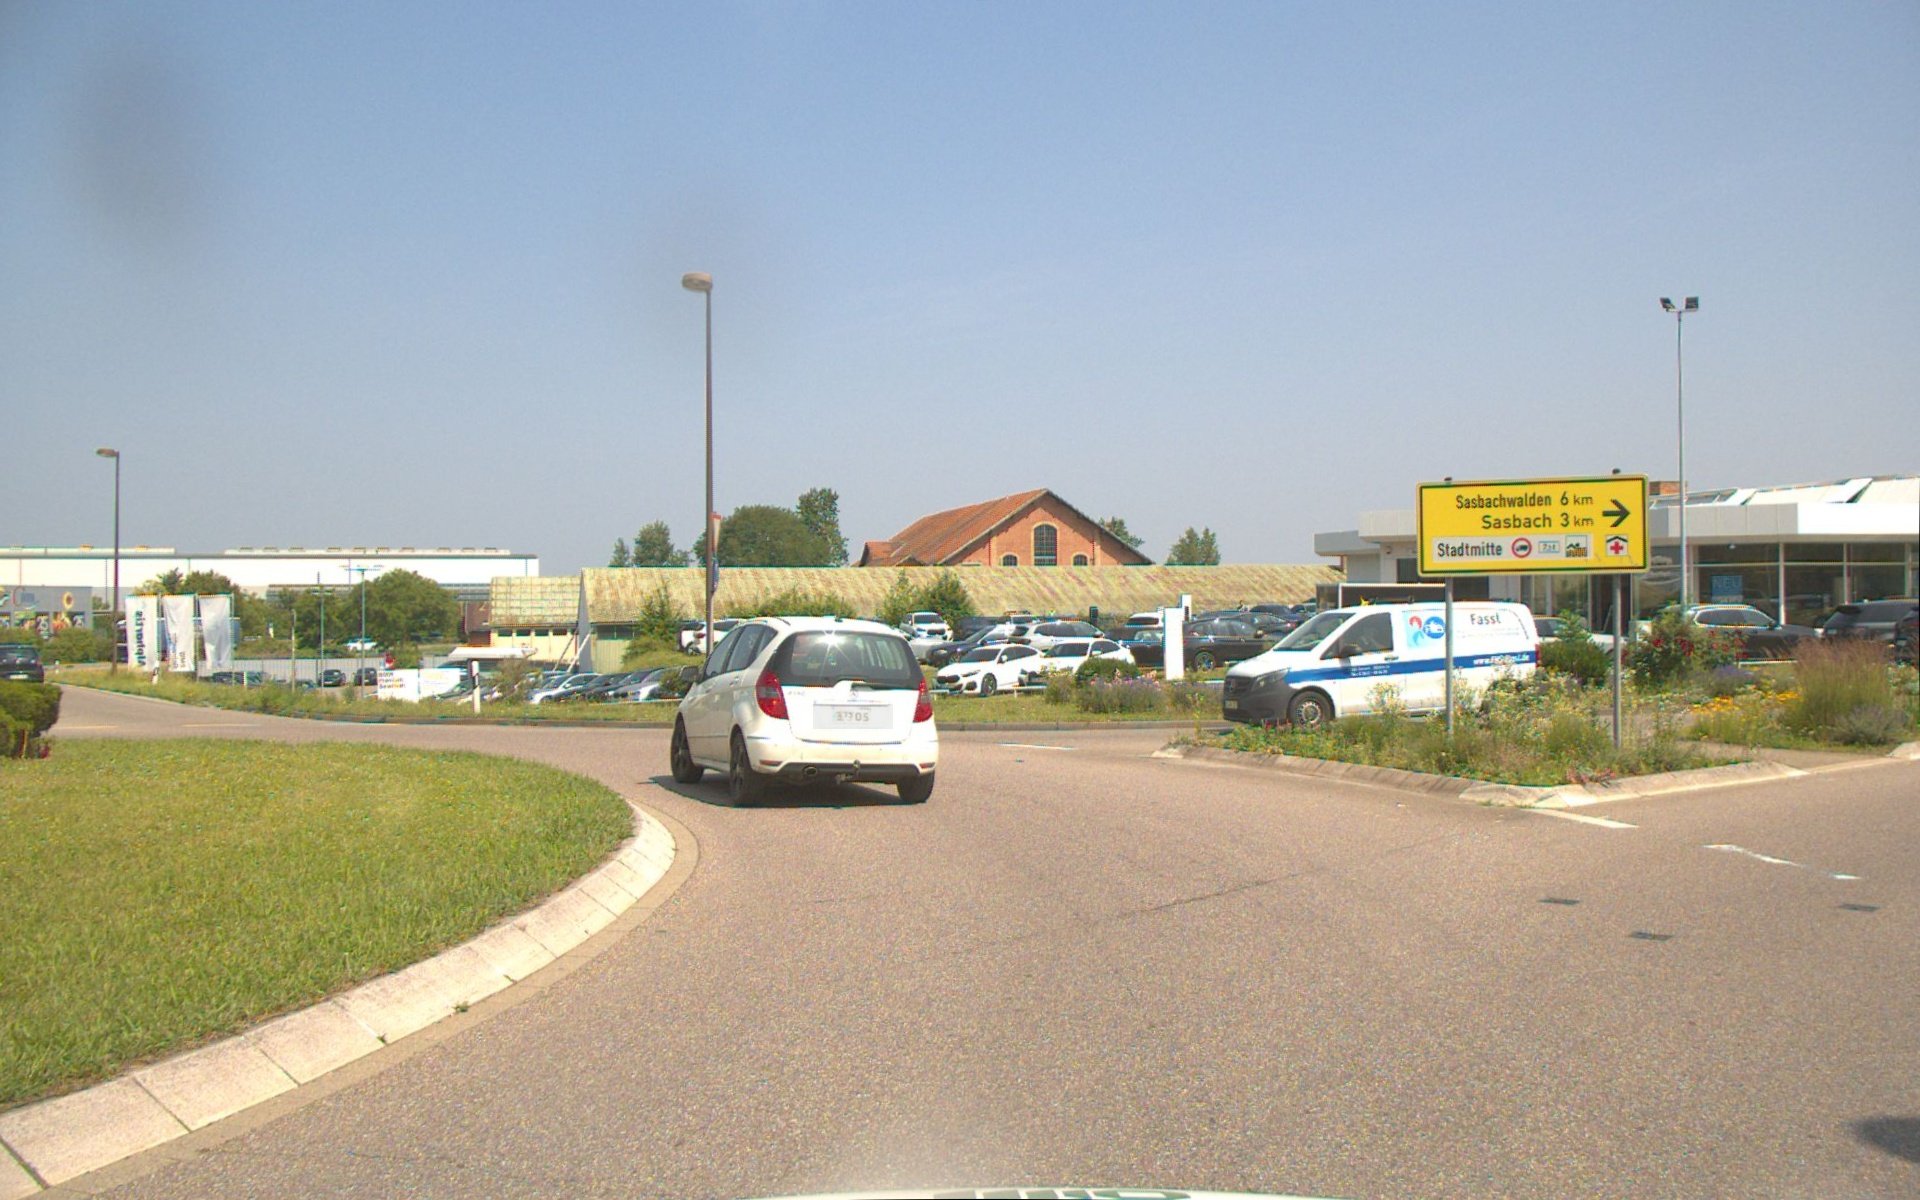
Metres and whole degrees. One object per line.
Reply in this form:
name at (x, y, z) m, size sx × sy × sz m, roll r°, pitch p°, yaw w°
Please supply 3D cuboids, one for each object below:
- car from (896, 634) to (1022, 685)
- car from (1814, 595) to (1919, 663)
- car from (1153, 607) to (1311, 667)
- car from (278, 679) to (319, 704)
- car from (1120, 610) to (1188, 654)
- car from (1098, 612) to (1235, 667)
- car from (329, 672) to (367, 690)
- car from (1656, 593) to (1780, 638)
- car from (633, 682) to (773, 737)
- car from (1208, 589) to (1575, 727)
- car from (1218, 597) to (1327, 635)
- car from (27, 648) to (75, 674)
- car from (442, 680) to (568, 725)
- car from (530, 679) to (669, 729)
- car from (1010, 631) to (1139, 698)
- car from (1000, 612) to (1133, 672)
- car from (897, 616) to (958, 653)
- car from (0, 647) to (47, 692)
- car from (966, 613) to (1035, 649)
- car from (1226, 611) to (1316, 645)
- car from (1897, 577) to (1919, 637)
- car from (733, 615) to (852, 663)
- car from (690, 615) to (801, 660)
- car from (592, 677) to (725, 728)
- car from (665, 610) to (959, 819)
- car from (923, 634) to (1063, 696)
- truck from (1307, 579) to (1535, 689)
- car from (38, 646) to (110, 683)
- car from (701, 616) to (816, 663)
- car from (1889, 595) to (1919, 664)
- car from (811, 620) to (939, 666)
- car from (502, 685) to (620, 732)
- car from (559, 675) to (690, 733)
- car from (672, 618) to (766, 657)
car at (-0.054, 1.986, 56.011) m, size 3.926 × 1.553 × 1.944 m, roll -1°, pitch -1°, yaw -12°
car at (23.070, 0.663, 39.647) m, size 4.268 × 1.539 × 1.911 m, roll -1°, pitch -1°, yaw 15°
car at (8.376, 1.148, 50.967) m, size 4.345 × 1.526 × 1.939 m, roll -4°, pitch -1°, yaw -18°
car at (-42.017, 5.815, 105.119) m, size 2.102 × 1.483 × 4.509 m, roll 1°, pitch -2°, yaw -18°
car at (7.557, 1.226, 64.181) m, size 1.618 × 1.614 × 4.269 m, roll -1°, pitch 0°, yaw 20°
car at (6.701, 1.265, 53.698) m, size 3.934 × 1.526 × 1.940 m, roll -3°, pitch 1°, yaw -18°
car at (-49.733, 6.580, 134.461) m, size 1.955 × 1.423 × 3.994 m, roll 0°, pitch -2°, yaw -6°
car at (29.080, 0.595, 63.494) m, size 3.958 × 1.614 × 1.903 m, roll -1°, pitch -1°, yaw -13°
car at (-8.727, 3.726, 56.370) m, size 1.891 × 1.491 × 4.404 m, roll -6°, pitch -3°, yaw 45°
car at (6.518, 0.882, 25.146) m, size 5.122 × 1.972 × 1.855 m, roll 0°, pitch -2°, yaw -13°
car at (14.006, 0.715, 74.150) m, size 4.377 × 1.549 × 1.943 m, roll -1°, pitch -1°, yaw -14°
car at (-71.874, 4.843, 130.841) m, size 1.956 × 2.049 × 3.992 m, roll 0°, pitch -2°, yaw -8°
car at (-18.460, 4.152, 67.181) m, size 4.455 × 1.669 × 2.115 m, roll 1°, pitch -4°, yaw -41°
car at (-13.635, 3.914, 62.622) m, size 4.732 × 1.534 × 1.973 m, roll -2°, pitch -3°, yaw -37°
car at (3.394, 1.837, 48.124) m, size 1.731 × 1.598 × 4.654 m, roll -2°, pitch 1°, yaw 32°
car at (3.520, 1.371, 54.806) m, size 3.934 × 1.781 × 1.939 m, roll -2°, pitch 0°, yaw -18°
car at (-1.556, 1.606, 77.731) m, size 1.885 × 1.624 × 4.286 m, roll -1°, pitch -1°, yaw -15°
car at (-32.510, 2.395, 56.811) m, size 1.807 × 1.496 × 4.371 m, roll 1°, pitch -3°, yaw -27°
car at (1.912, 1.504, 79.307) m, size 2.152 × 1.624 × 4.286 m, roll -1°, pitch -1°, yaw -15°
car at (12.669, 1.152, 67.495) m, size 1.645 × 1.298 × 3.290 m, roll -1°, pitch -1°, yaw -43°
car at (26.805, 0.120, 42.592) m, size 4.268 × 1.539 × 1.911 m, roll -1°, pitch -1°, yaw 15°
car at (-6.646, 1.541, 65.673) m, size 4.385 × 1.778 × 1.939 m, roll -1°, pitch -1°, yaw -18°
car at (-9.082, 1.565, 69.961) m, size 4.385 × 1.778 × 1.829 m, roll -1°, pitch -1°, yaw -18°
car at (-10.590, 3.589, 58.189) m, size 4.217 × 1.491 × 1.849 m, roll -2°, pitch -3°, yaw -37°
car at (-1.510, 0.937, 15.378) m, size 1.755 × 1.631 × 3.869 m, roll 1°, pitch 0°, yaw -21°
car at (1.030, 1.912, 49.247) m, size 1.734 × 1.598 × 4.557 m, roll -3°, pitch -1°, yaw 38°
truck at (12.171, 0.878, 43.771) m, size 5.511 × 2.711 × 1.943 m, roll -1°, pitch -1°, yaw -13°
car at (-50.634, 3.689, 94.582) m, size 1.953 × 2.049 × 3.998 m, roll 0°, pitch -2°, yaw -1°
car at (-8.249, 1.606, 67.728) m, size 4.385 × 1.778 × 1.829 m, roll -1°, pitch -1°, yaw -18°
car at (23.518, 0.606, 37.133) m, size 4.268 × 1.539 × 1.911 m, roll -1°, pitch -1°, yaw 15°
car at (-3.161, 1.571, 61.293) m, size 4.385 × 1.526 × 1.939 m, roll -1°, pitch -1°, yaw -18°
car at (-15.448, 4.196, 64.129) m, size 3.965 × 1.579 × 1.970 m, roll -1°, pitch -4°, yaw -41°
car at (-12.257, 3.776, 60.439) m, size 4.217 × 1.779 × 1.973 m, roll -2°, pitch -3°, yaw -37°
car at (-10.507, 1.632, 72.052) m, size 3.815 × 1.559 × 1.759 m, roll -1°, pitch -1°, yaw -18°
